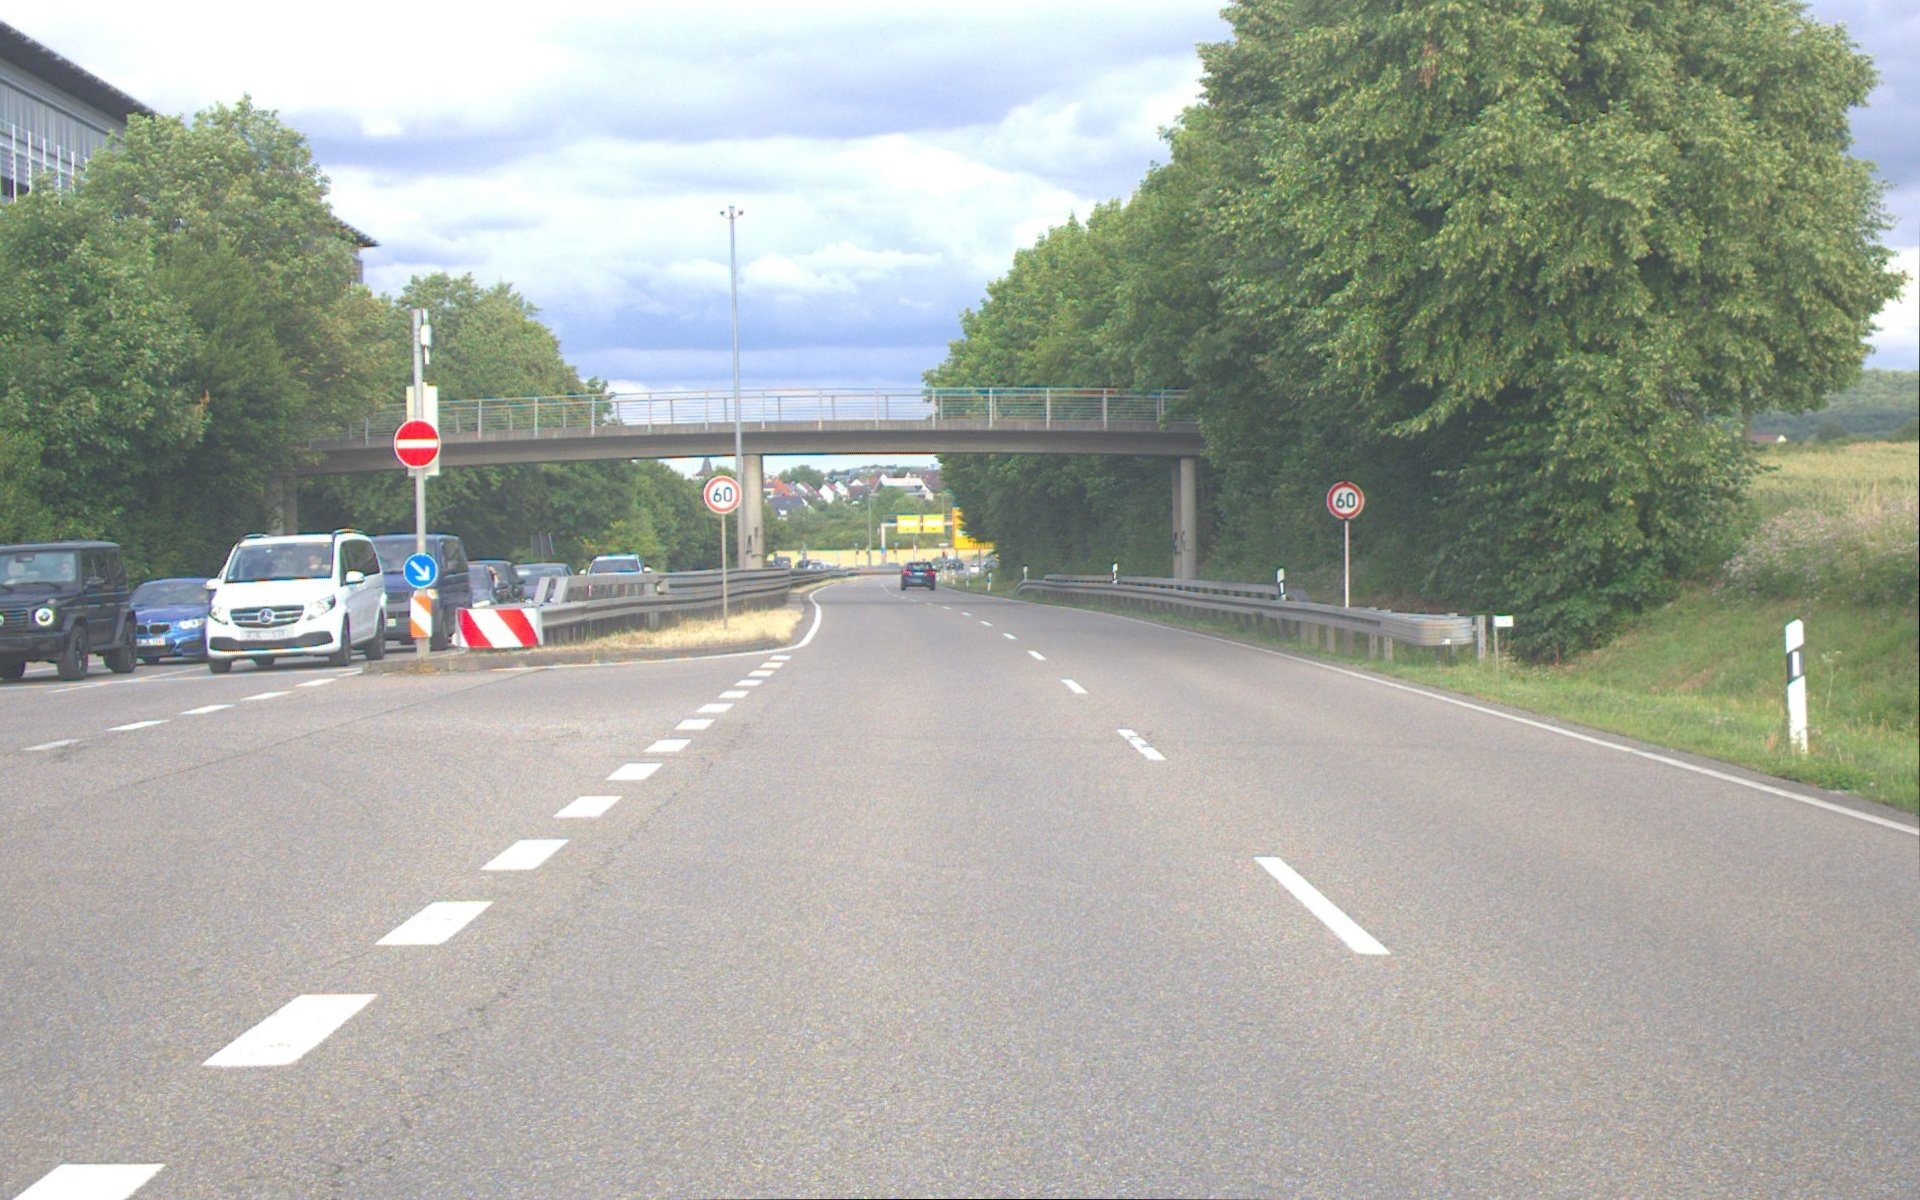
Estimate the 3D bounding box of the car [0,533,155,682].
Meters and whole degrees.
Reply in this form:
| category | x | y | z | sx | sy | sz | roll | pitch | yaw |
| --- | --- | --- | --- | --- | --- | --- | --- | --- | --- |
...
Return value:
| category | x | y | z | sx | sy | sz | roll | pitch | yaw |
| --- | --- | --- | --- | --- | --- | --- | --- | --- | --- |
| car | -13.119 | 0.069 | 49.256 | 2.083 | 2.007 | 5.217 | 1 | 0 | -2 |

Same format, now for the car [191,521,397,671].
| category | x | y | z | sx | sy | sz | roll | pitch | yaw |
| --- | --- | --- | --- | --- | --- | --- | --- | --- | --- |
| car | -9.485 | -0.079 | 49.366 | 2.083 | 2.007 | 5.217 | 1 | 0 | -2 |

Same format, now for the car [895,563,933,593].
| category | x | y | z | sx | sy | sz | roll | pitch | yaw |
| --- | --- | --- | --- | --- | --- | --- | --- | --- | --- |
| car | -2.456 | -1.158 | 183.158 | 1.879 | 1.547 | 4.000 | 1 | 0 | -3 |

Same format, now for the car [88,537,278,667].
| category | x | y | z | sx | sy | sz | roll | pitch | yaw |
| --- | --- | --- | --- | --- | --- | --- | --- | --- | --- |
| car | -12.752 | 0.008 | 56.757 | 2.083 | 2.007 | 5.217 | 1 | 0 | -2 |

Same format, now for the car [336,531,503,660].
| category | x | y | z | sx | sy | sz | roll | pitch | yaw |
| --- | --- | --- | --- | --- | --- | --- | --- | --- | --- |
| car | -8.908 | -0.096 | 57.103 | 2.083 | 2.007 | 5.217 | 1 | 0 | -2 |

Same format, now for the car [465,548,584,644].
| category | x | y | z | sx | sy | sz | roll | pitch | yaw |
| --- | --- | --- | --- | --- | --- | --- | --- | --- | --- |
| car | -9.545 | -0.106 | 75.650 | 2.083 | 2.007 | 5.217 | 1 | 0 | -2 |
